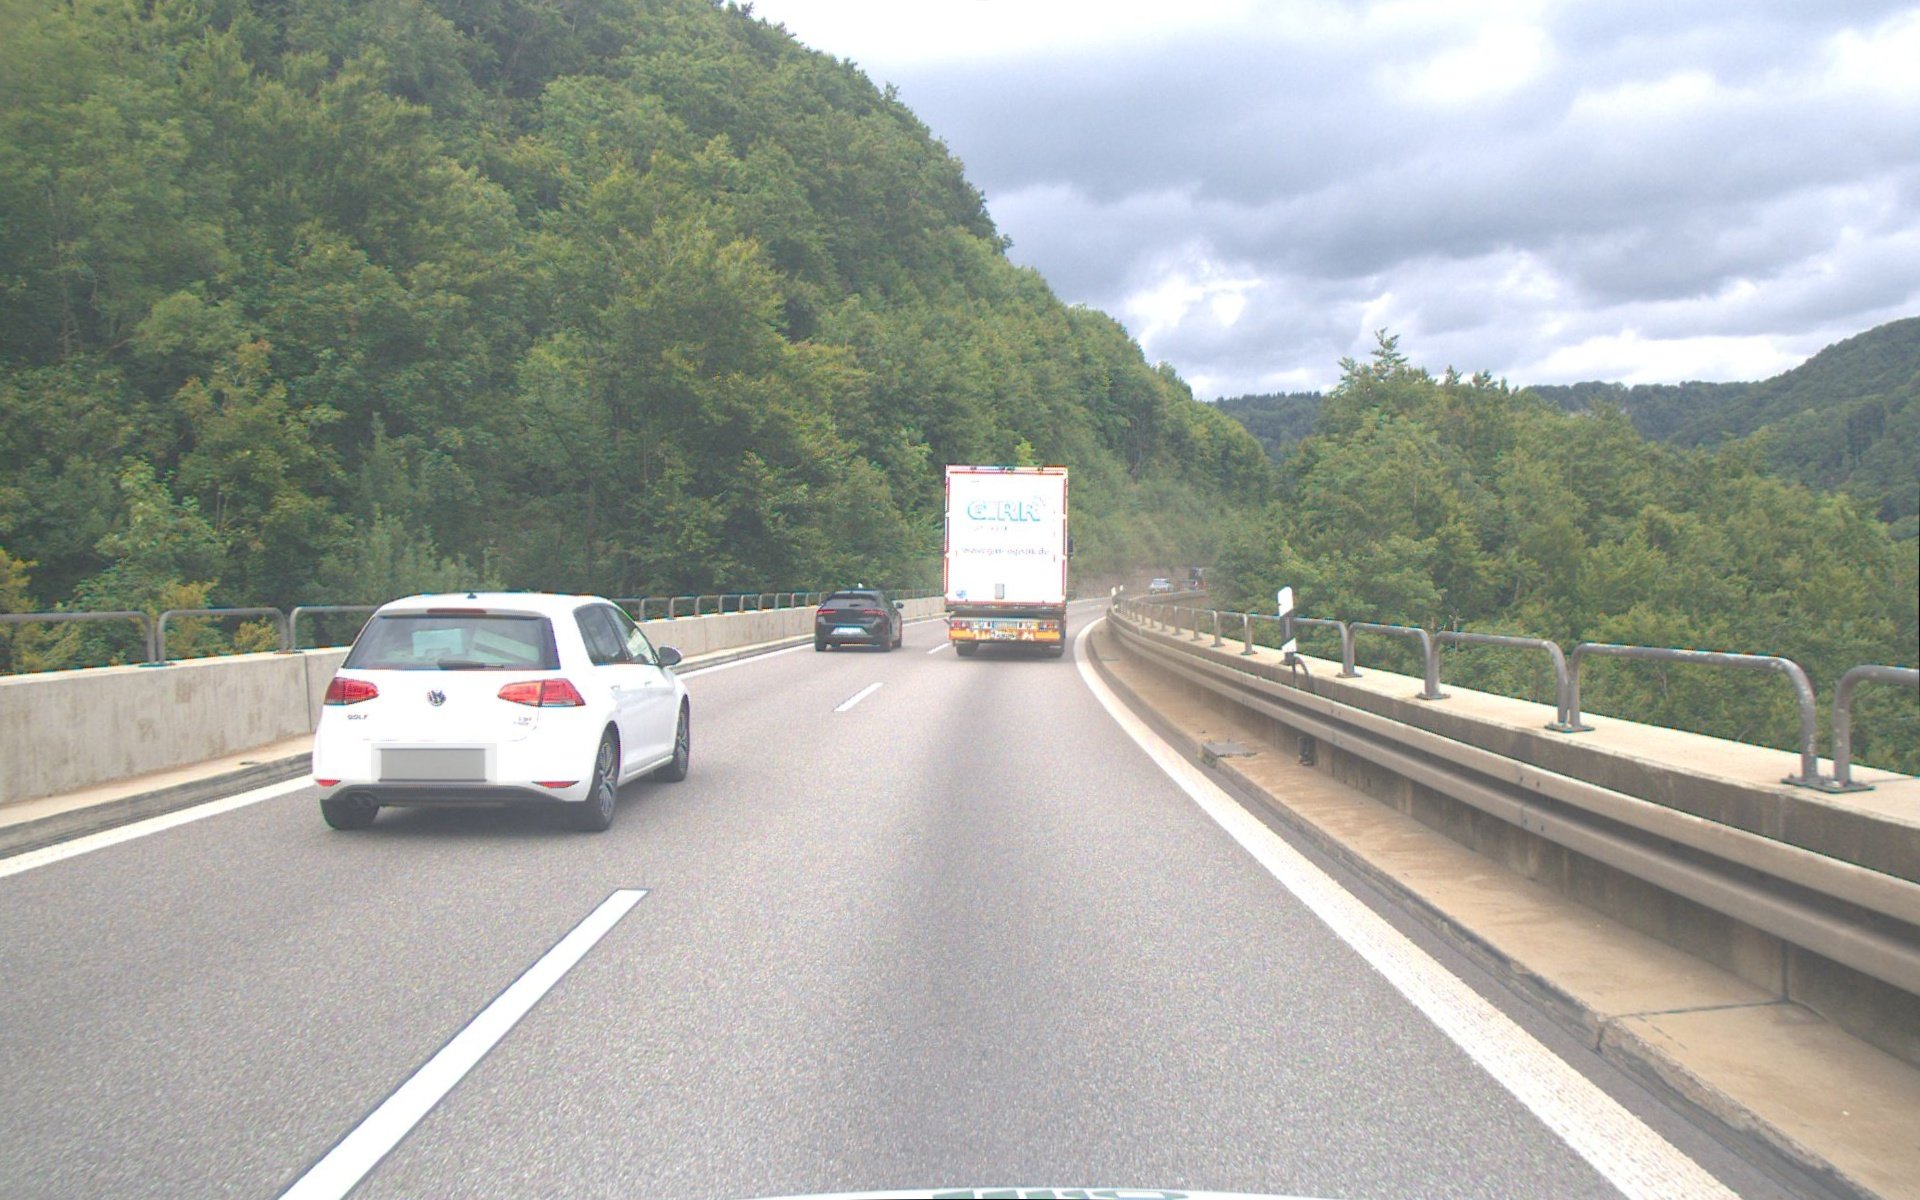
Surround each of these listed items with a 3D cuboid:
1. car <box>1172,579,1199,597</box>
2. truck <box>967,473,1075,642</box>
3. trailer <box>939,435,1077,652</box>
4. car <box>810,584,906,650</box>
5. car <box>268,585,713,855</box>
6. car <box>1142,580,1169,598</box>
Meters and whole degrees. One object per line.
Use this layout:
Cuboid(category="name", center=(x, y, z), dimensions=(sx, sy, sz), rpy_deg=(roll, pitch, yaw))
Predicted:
Cuboid(category="car", center=(20.637, -1.111, 151.452), dimensions=(1.951, 1.593, 4.003), rpy_deg=(-1, -1, 15))
Cuboid(category="truck", center=(1.783, -1.089, 46.208), dimensions=(2.754, 4.378, 6.261), rpy_deg=(-1, 0, 4))
Cuboid(category="trailer", center=(1.367, -1.121, 39.783), dimensions=(2.754, 4.378, 12.250), rpy_deg=(-1, 0, 4))
Cuboid(category="car", center=(-2.384, 0.379, 39.569), dimensions=(1.736, 1.486, 4.583), rpy_deg=(0, 0, 4))
Cuboid(category="car", center=(-2.971, 0.650, 11.559), dimensions=(1.807, 1.507, 4.627), rpy_deg=(0, 0, 0))
Cuboid(category="car", center=(18.583, -1.021, 157.348), dimensions=(1.951, 1.593, 4.003), rpy_deg=(-1, -1, 15))
